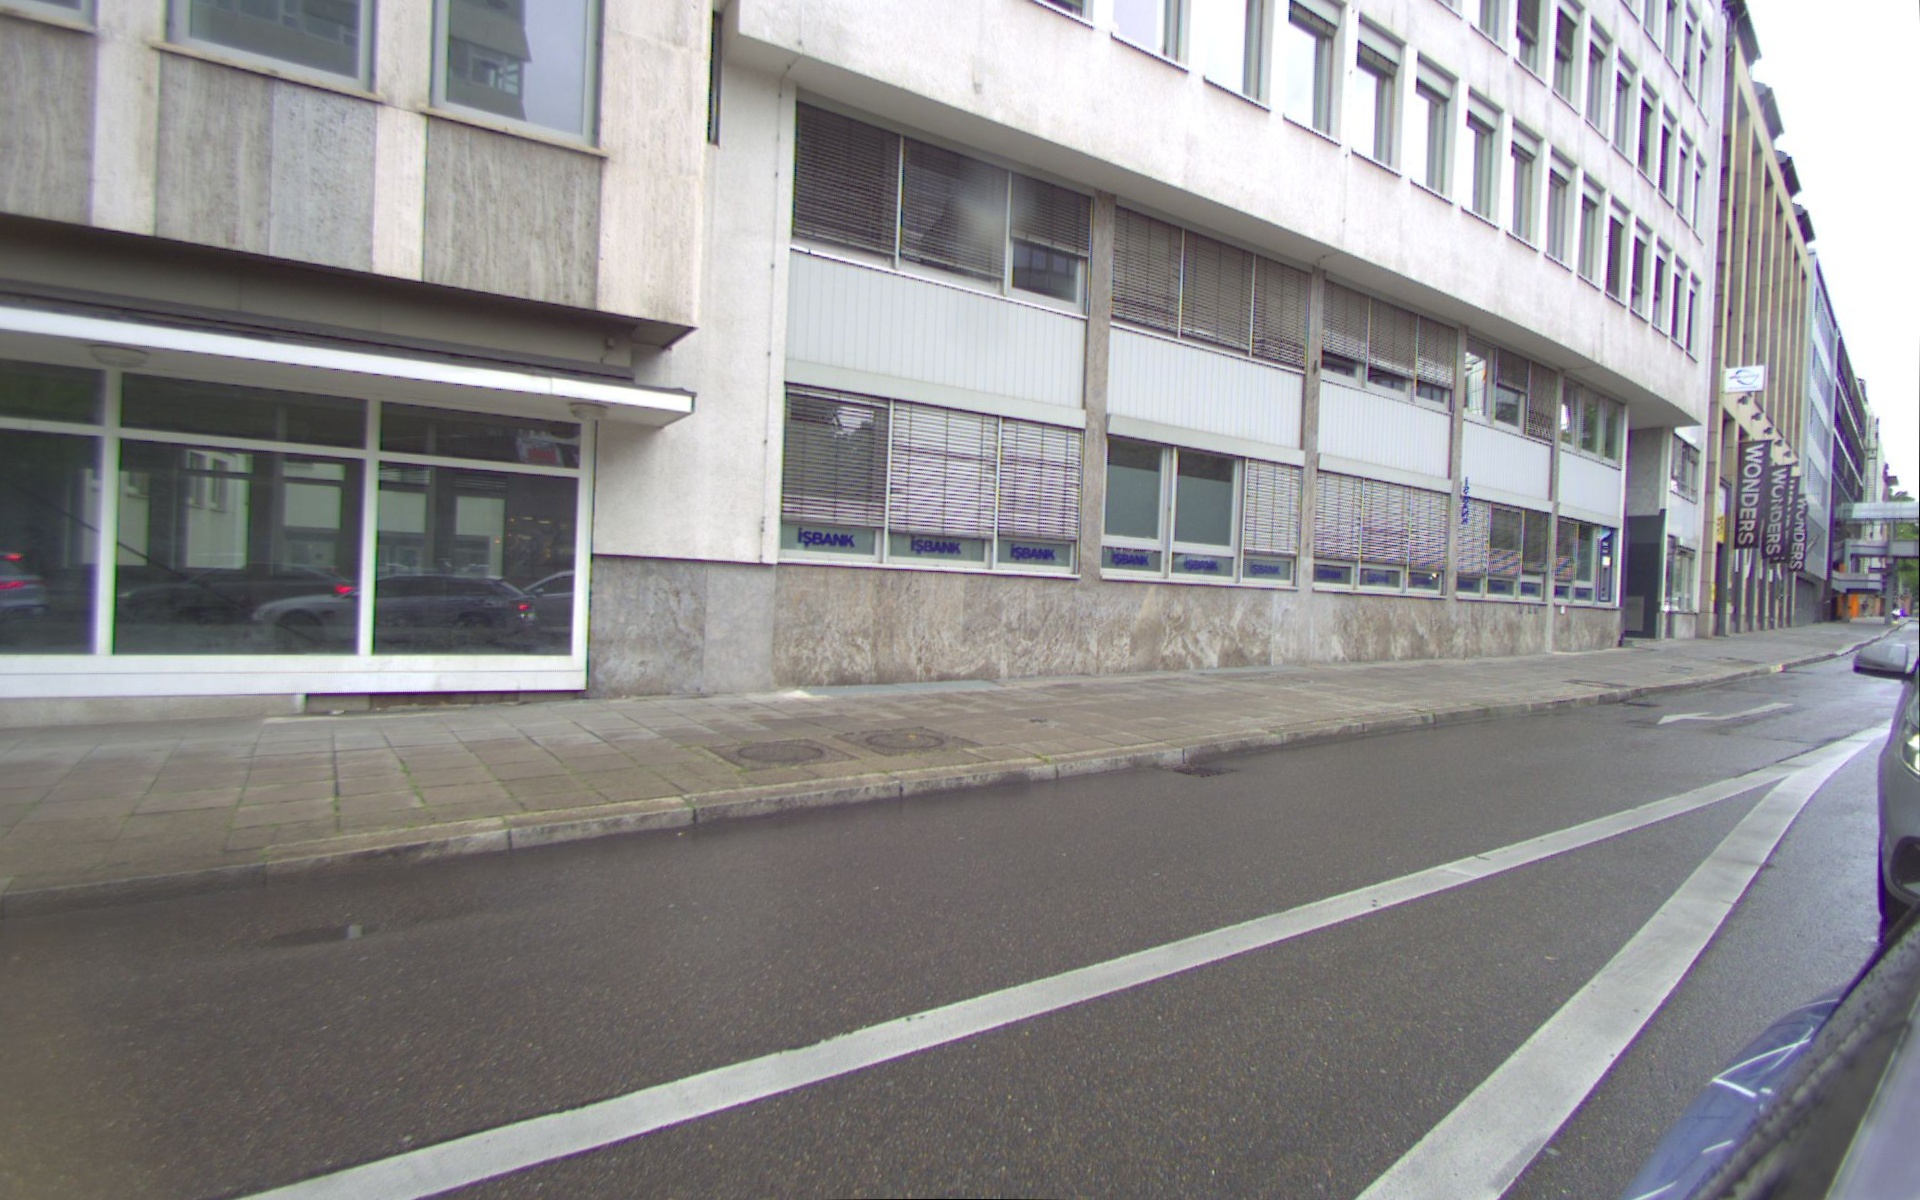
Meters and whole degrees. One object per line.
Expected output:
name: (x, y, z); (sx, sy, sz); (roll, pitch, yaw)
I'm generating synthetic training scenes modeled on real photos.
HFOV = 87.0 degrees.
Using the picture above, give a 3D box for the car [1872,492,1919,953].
car: (6.275, 0.512, 5.174); (4.940, 1.879, 1.914); (0, 0, -42)
